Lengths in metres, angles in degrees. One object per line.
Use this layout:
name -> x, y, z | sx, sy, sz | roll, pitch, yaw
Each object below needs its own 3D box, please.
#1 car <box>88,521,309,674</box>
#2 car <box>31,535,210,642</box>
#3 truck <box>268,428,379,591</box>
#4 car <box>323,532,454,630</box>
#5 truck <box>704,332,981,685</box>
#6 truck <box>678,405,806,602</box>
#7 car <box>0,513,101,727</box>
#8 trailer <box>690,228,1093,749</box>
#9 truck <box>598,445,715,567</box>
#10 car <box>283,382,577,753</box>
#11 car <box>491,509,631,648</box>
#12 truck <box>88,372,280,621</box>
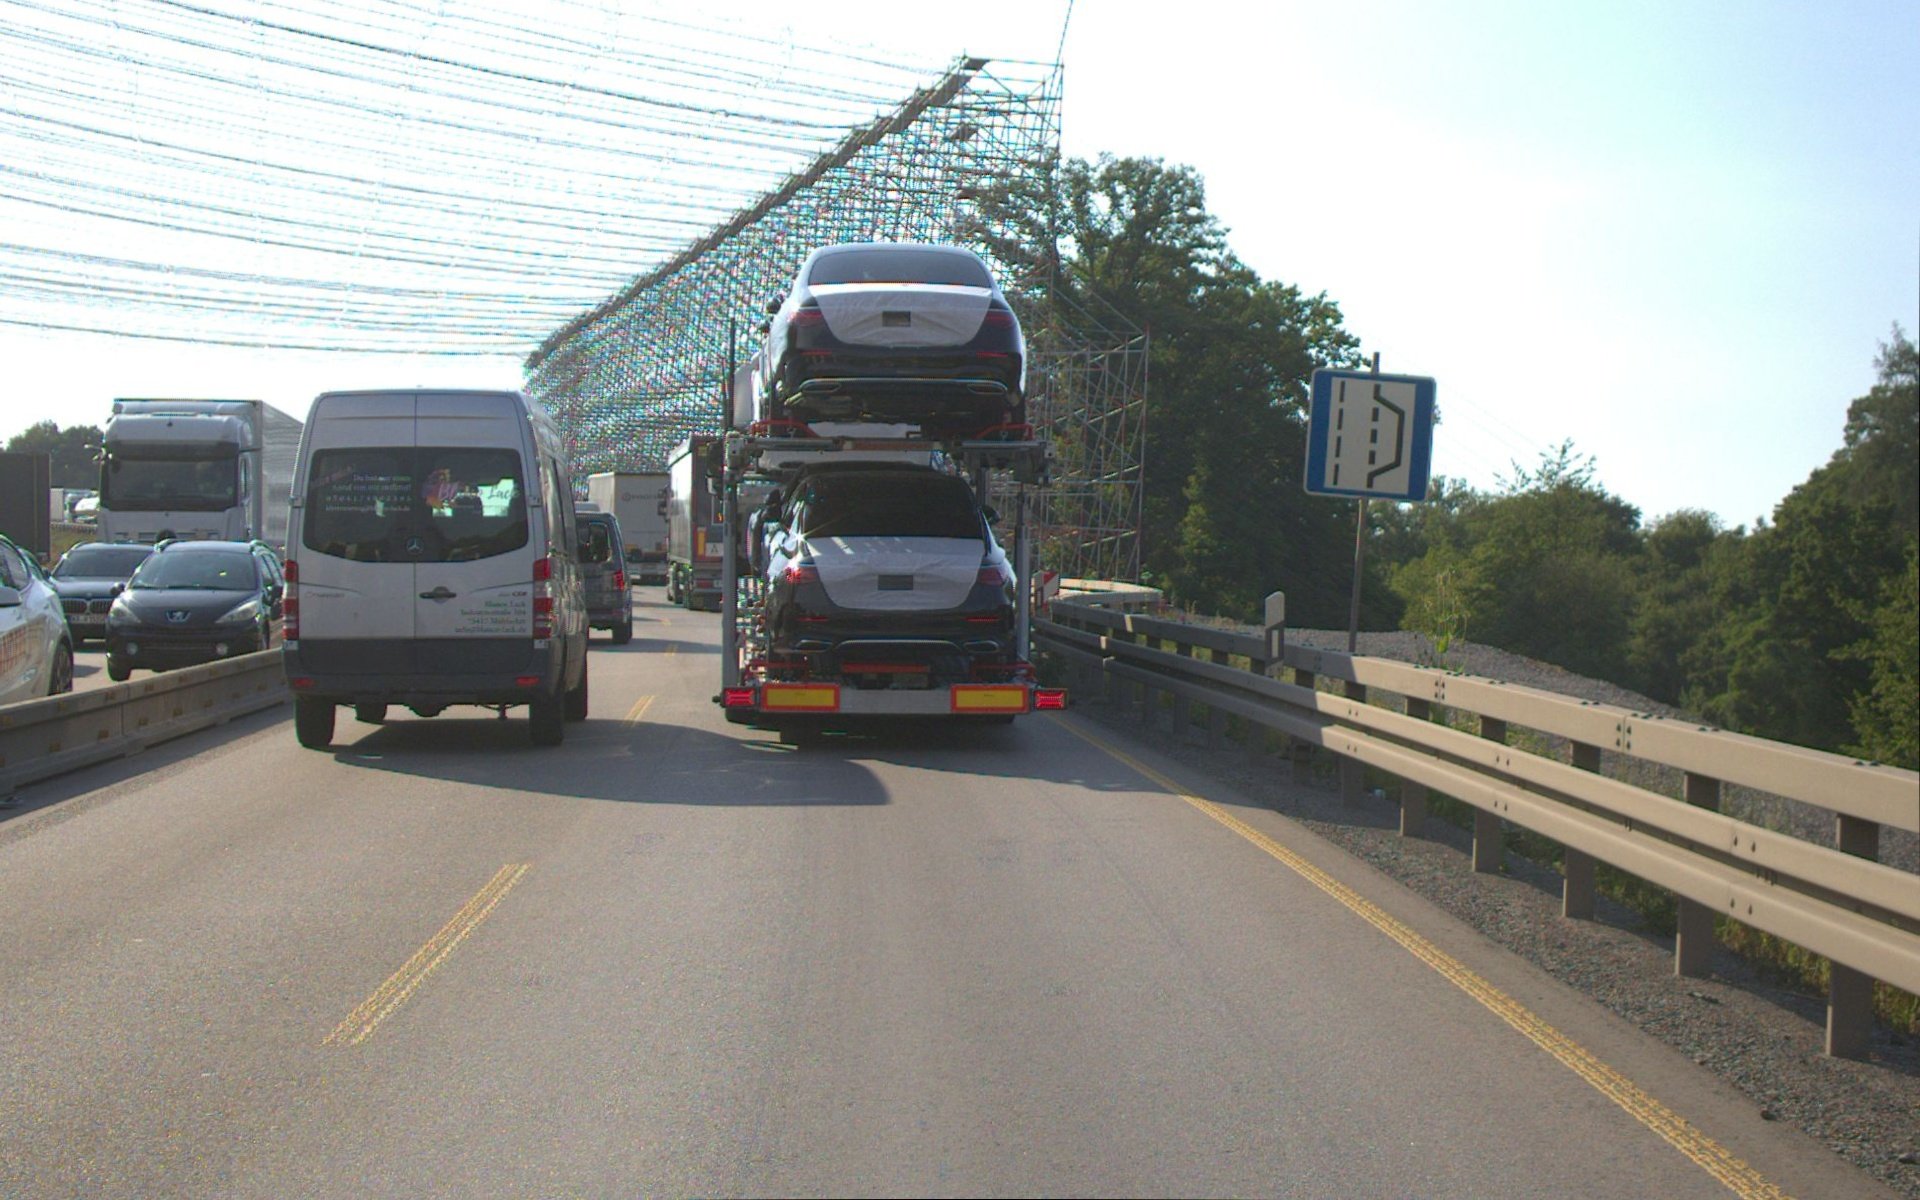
car -> -8.478, -0.069, 38.555 | 1.782, 1.516, 4.001 | 2, 2, -4
car -> -11.955, -0.190, 49.213 | 1.743, 1.455, 4.714 | 0, 1, -4
truck -> -17.287, -2.428, 93.640 | 2.744, 4.285, 5.935 | 0, 1, -8
car -> -10.251, -0.372, 61.959 | 1.817, 1.573, 4.756 | -1, 2, -4
truck -> -1.423, -1.009, 39.752 | 2.881, 3.690, 7.326 | 0, 1, -3
truck -> -5.375, -2.313, 83.177 | 2.731, 4.370, 11.524 | 1, 1, -5
car -> -7.910, 0.157, 25.490 | 2.058, 1.481, 4.727 | -2, 2, -3
trailer -> -0.957, -0.900, 32.100 | 2.868, 3.712, 14.949 | 0, 1, -4
truck -> -11.522, -3.520, 129.102 | 3.686, 4.206, 13.672 | -2, 2, -7
car -> -3.966, -0.249, 26.299 | 1.956, 2.612, 4.001 | 0, 0, -5
car -> -6.037, -0.330, 52.387 | 1.993, 2.007, 4.001 | 1, 1, -5
truck -> -13.697, -1.791, 61.048 | 2.712, 4.203, 5.684 | 0, 1, -7
